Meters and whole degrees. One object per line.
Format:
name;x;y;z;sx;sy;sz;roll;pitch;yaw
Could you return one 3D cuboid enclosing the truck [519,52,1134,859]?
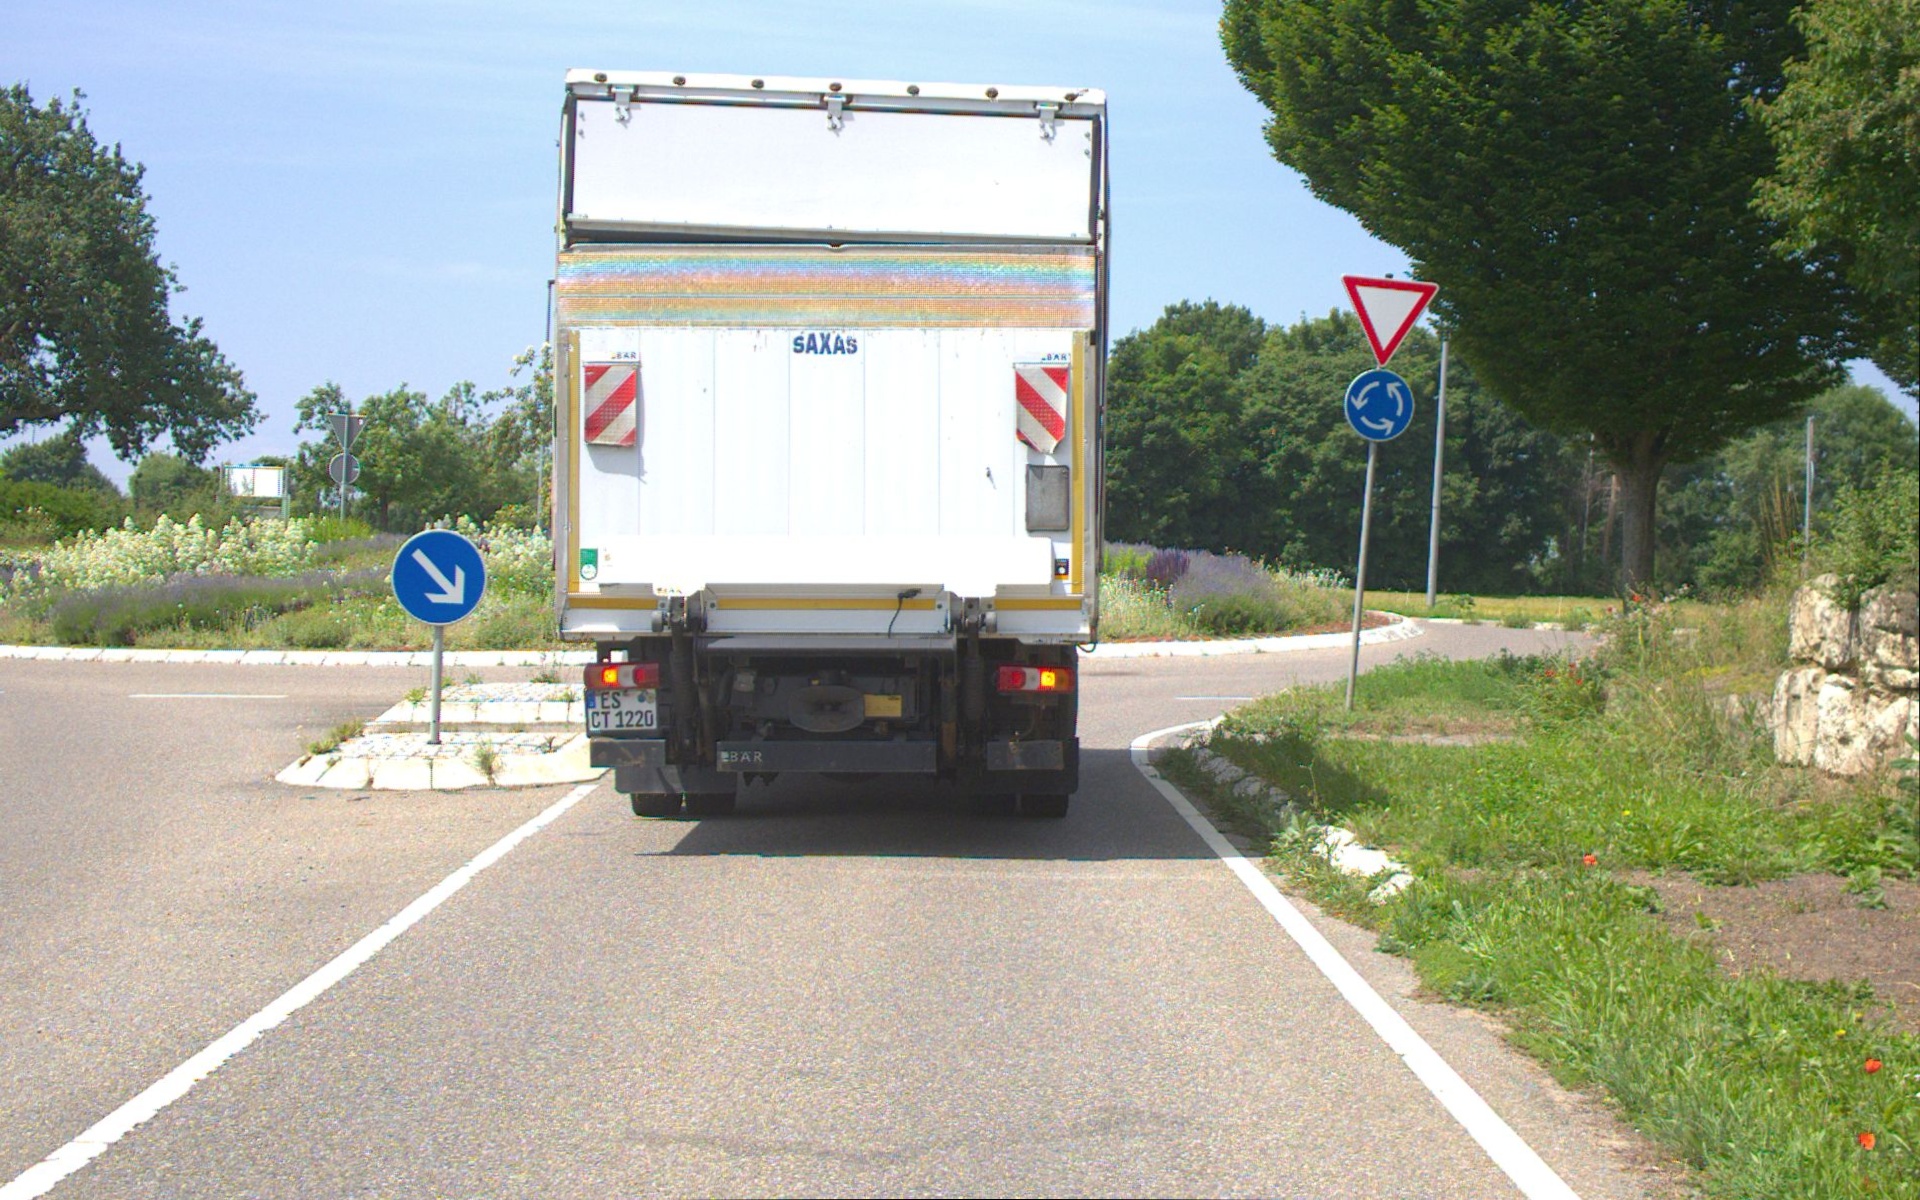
truck;-0.760;-0.736;20.461;2.766;3.658;9.383;1;1;-2
